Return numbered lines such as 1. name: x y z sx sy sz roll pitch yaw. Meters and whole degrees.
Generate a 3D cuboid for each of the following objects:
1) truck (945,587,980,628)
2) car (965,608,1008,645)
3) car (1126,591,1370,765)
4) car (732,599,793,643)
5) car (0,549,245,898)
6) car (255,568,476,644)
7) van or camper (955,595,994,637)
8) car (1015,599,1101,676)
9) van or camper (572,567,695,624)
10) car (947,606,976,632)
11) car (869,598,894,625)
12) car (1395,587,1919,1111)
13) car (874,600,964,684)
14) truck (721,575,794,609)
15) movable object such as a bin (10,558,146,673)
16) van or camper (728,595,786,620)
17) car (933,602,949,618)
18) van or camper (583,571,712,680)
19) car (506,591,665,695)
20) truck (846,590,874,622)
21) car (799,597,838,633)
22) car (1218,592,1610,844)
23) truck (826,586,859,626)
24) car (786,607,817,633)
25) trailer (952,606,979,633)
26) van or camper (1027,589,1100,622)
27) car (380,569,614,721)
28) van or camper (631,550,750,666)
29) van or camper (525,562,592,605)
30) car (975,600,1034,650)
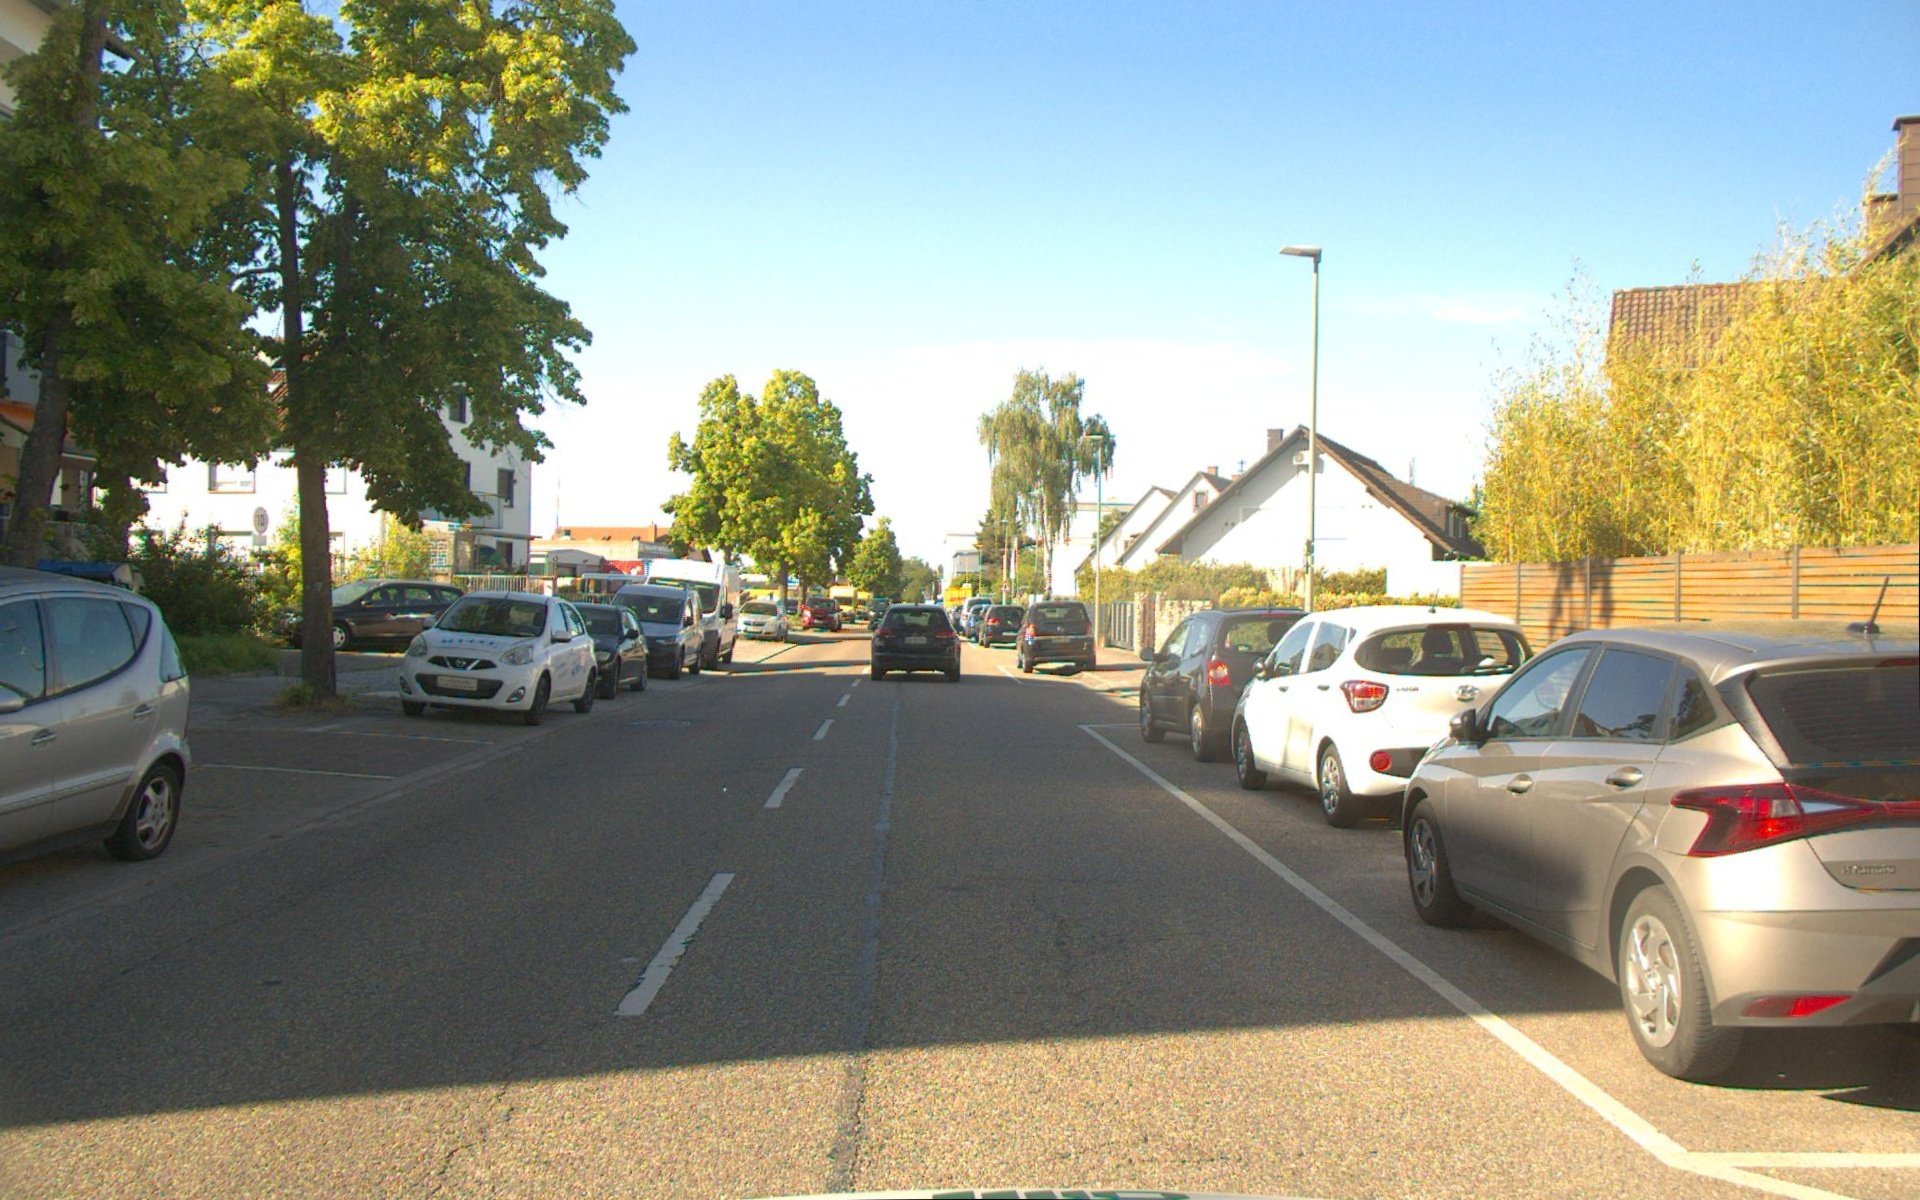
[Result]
1. truck: 0.171 0.561 125.298 2.354 2.988 7.013 -1 -1 -2
2. car: 1.142 1.135 72.831 1.684 1.531 3.562 2 0 -1
3. car: 2.964 0.755 17.790 1.624 1.629 3.812 2 0 -5
4. car: -7.342 0.764 61.780 1.652 1.460 4.208 4 0 0
5. car: -5.431 0.552 8.408 1.687 1.620 3.908 6 0 1
6. car: -12.943 0.155 36.219 1.584 1.540 4.367 2 0 38
7. van or camper: 0.677 0.757 79.095 1.684 1.924 4.178 2 -1 -1
8. car: 2.284 0.849 39.654 1.739 1.688 4.303 2 0 0
9. van or camper: -14.559 -0.187 73.860 4.788 2.361 2.245 2 -1 11
10. car: 0.106 1.197 106.048 1.639 1.569 4.044 2 0 2
11. car: -6.199 0.911 131.478 1.856 2.067 4.816 0 0 -1
12. car: 3.110 0.738 6.774 1.608 1.520 3.889 1 0 0
13. car: -0.780 0.800 32.981 1.677 1.559 3.687 1 0 -1
14. truck: -17.505 -0.700 143.010 5.795 2.612 2.225 3 0 10
15. movable object such as a bin: -11.987 0.205 22.512 1.206 1.508 1.116 1 0 1
16. van or camper: -17.125 0.631 139.435 4.447 2.049 2.252 1 -1 5
17. car: -2.349 1.240 205.363 1.880 1.857 4.078 1 -1 -1
18. van or camper: -6.354 0.492 34.082 1.840 2.049 4.278 2 0 -1
19. car: -5.996 0.645 26.924 1.577 1.460 4.312 3 0 -1
20. truck: -10.047 0.646 166.633 2.354 3.035 6.371 3 -1 -1
21. car: -7.569 0.821 88.850 1.767 1.783 4.340 3 -1 -1
22. car: 3.322 0.792 12.874 1.691 1.629 3.812 2 0 -5
23. truck: -9.548 0.510 134.931 2.355 3.035 7.241 3 -1 -3
24. car: -10.745 1.373 112.608 1.824 1.618 4.273 1 -2 -2
25. trailer: 0.334 1.175 101.155 1.594 1.565 3.197 1 0 -1
26. van or camper: 8.626 0.476 137.534 5.747 2.586 2.269 1 -1 -29
27. car: -5.656 0.517 20.686 1.658 1.593 3.907 4 0 1
28. van or camper: -6.484 0.199 40.374 2.080 2.533 5.552 3 0 -2
29. van or camper: -27.112 -1.090 111.891 2.118 2.763 6.274 1 0 9
30. car: 1.540 0.872 58.962 1.740 1.688 3.813 2 0 -3
